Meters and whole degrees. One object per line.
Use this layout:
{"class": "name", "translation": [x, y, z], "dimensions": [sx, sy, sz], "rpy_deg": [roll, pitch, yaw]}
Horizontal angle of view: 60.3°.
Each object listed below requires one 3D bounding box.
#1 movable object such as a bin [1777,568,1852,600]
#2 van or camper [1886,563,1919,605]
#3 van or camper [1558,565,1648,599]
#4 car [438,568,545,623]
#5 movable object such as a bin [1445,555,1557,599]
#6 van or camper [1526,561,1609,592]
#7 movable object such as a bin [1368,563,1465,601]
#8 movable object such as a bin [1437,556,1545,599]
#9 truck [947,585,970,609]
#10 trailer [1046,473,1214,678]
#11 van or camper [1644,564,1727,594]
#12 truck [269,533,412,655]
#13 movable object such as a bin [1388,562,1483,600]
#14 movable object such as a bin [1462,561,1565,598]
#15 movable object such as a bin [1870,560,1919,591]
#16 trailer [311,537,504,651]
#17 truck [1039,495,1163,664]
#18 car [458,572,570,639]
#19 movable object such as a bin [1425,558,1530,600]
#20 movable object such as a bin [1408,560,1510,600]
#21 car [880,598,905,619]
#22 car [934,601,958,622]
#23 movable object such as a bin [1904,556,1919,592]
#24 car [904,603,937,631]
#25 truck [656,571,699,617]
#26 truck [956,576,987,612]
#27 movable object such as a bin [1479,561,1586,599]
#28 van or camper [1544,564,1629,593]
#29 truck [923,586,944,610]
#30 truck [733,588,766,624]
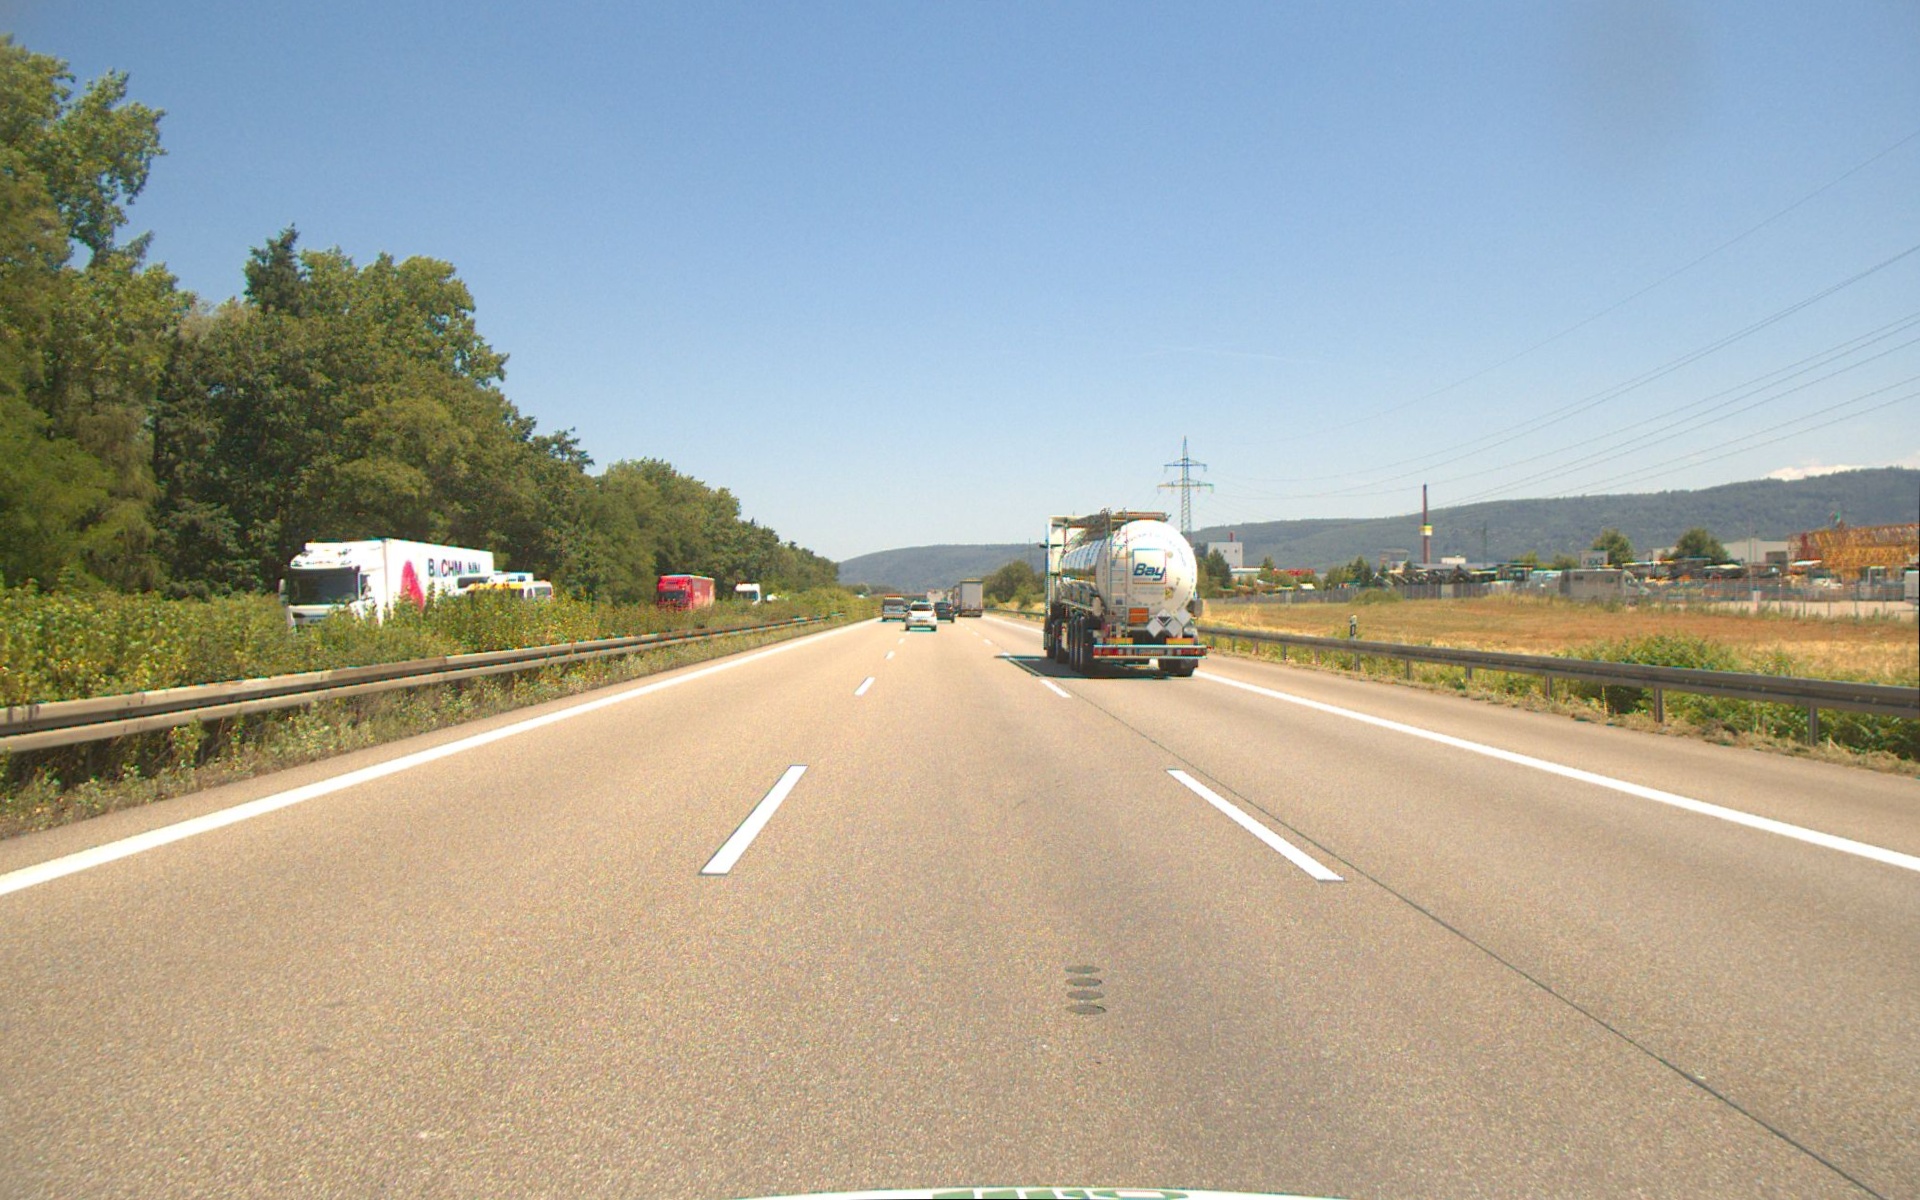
{"class": "movable object such as a bin", "translation": [75.038, -1.358, 145.394], "dimensions": [2.853, 2.599, 6.806], "rpy_deg": [-2, 0, -1]}
{"class": "van or camper", "translation": [65.035, -1.103, 108.908], "dimensions": [6.223, 2.724, 3.324], "rpy_deg": [-1, 0, -2]}
{"class": "van or camper", "translation": [51.446, -1.431, 132.445], "dimensions": [6.212, 2.597, 2.438], "rpy_deg": [-1, 0, 0]}
{"class": "car", "translation": [-16.716, -0.162, 59.320], "dimensions": [2.255, 1.811, 5.423], "rpy_deg": [1, 0, 0]}
{"class": "movable object such as a bin", "translation": [51.295, -2.144, 157.063], "dimensions": [9.512, 3.754, 3.420], "rpy_deg": [-2, 0, 5]}
{"class": "van or camper", "translation": [50.951, -1.925, 138.868], "dimensions": [5.991, 2.444, 2.602], "rpy_deg": [-1, 0, 0]}
{"class": "movable object such as a bin", "translation": [50.810, -2.002, 184.018], "dimensions": [10.046, 3.754, 2.393], "rpy_deg": [-2, 0, -2]}
{"class": "movable object such as a bin", "translation": [51.510, -2.129, 160.591], "dimensions": [9.512, 3.754, 2.978], "rpy_deg": [-2, 0, 5]}
{"class": "truck", "translation": [-0.291, -0.465, 246.779], "dimensions": [3.034, 3.535, 11.539], "rpy_deg": [1, 0, -1]}
{"class": "trailer", "translation": [3.770, -0.515, 39.419], "dimensions": [2.528, 4.145, 11.100], "rpy_deg": [1, 0, -1]}
{"class": "van or camper", "translation": [62.694, -1.784, 142.938], "dimensions": [5.991, 2.444, 2.602], "rpy_deg": [-1, 0, 0]}
{"class": "truck", "translation": [-20.390, -0.203, 54.768], "dimensions": [2.738, 3.786, 5.116], "rpy_deg": [1, 0, 0]}
{"class": "movable object such as a bin", "translation": [51.817, -2.008, 180.234], "dimensions": [9.520, 3.754, 2.678], "rpy_deg": [-2, 0, -2]}
{"class": "movable object such as a bin", "translation": [51.345, -1.910, 153.494], "dimensions": [8.544, 3.059, 2.957], "rpy_deg": [-2, 0, 6]}
{"class": "movable object such as a bin", "translation": [83.003, -2.131, 144.701], "dimensions": [2.853, 2.599, 6.806], "rpy_deg": [-2, 0, -1]}
{"class": "trailer", "translation": [-20.505, -0.220, 62.575], "dimensions": [2.768, 3.774, 13.925], "rpy_deg": [1, 0, -1]}
{"class": "truck", "translation": [3.656, -0.522, 44.245], "dimensions": [2.521, 4.143, 6.391], "rpy_deg": [1, 0, -1]}
{"class": "car", "translation": [-12.991, 0.149, 48.482], "dimensions": [2.050, 1.811, 5.457], "rpy_deg": [1, 0, -3]}
{"class": "movable object such as a bin", "translation": [51.790, -2.080, 165.749], "dimensions": [9.516, 3.754, 2.977], "rpy_deg": [-2, 0, 1]}
{"class": "movable object such as a bin", "translation": [51.174, -2.048, 169.672], "dimensions": [9.516, 3.754, 2.633], "rpy_deg": [-2, 0, 1]}
{"class": "car", "translation": [-5.410, 0.655, 132.593], "dimensions": [1.814, 1.661, 3.999], "rpy_deg": [1, 0, -1]}
{"class": "car", "translation": [-1.106, 0.873, 129.110], "dimensions": [1.846, 1.542, 3.999], "rpy_deg": [1, 0, -1]}
{"class": "movable object such as a bin", "translation": [86.095, -2.370, 144.867], "dimensions": [2.853, 3.082, 6.806], "rpy_deg": [-2, 0, -1]}
{"class": "car", "translation": [-2.146, 0.914, 91.288], "dimensions": [1.770, 1.494, 3.999], "rpy_deg": [1, 0, -1]}
{"class": "truck", "translation": [-21.981, -0.446, 129.015], "dimensions": [2.545, 3.482, 5.115], "rpy_deg": [1, 0, -2]}
{"class": "truck", "translation": [1.264, -0.642, 190.312], "dimensions": [3.199, 3.925, 11.628], "rpy_deg": [1, 0, -1]}
{"class": "movable object such as a bin", "translation": [51.766, -1.828, 149.856], "dimensions": [8.545, 3.059, 3.216], "rpy_deg": [-2, 0, 5]}
{"class": "van or camper", "translation": [51.331, -1.744, 135.638], "dimensions": [5.991, 2.259, 2.602], "rpy_deg": [-1, 0, 0]}
{"class": "truck", "translation": [-4.068, -0.336, 250.124], "dimensions": [3.034, 3.535, 11.539], "rpy_deg": [1, 0, -1]}
{"class": "truck", "translation": [-22.309, 0.618, 175.488], "dimensions": [2.538, 3.770, 6.827], "rpy_deg": [1, 0, 0]}
